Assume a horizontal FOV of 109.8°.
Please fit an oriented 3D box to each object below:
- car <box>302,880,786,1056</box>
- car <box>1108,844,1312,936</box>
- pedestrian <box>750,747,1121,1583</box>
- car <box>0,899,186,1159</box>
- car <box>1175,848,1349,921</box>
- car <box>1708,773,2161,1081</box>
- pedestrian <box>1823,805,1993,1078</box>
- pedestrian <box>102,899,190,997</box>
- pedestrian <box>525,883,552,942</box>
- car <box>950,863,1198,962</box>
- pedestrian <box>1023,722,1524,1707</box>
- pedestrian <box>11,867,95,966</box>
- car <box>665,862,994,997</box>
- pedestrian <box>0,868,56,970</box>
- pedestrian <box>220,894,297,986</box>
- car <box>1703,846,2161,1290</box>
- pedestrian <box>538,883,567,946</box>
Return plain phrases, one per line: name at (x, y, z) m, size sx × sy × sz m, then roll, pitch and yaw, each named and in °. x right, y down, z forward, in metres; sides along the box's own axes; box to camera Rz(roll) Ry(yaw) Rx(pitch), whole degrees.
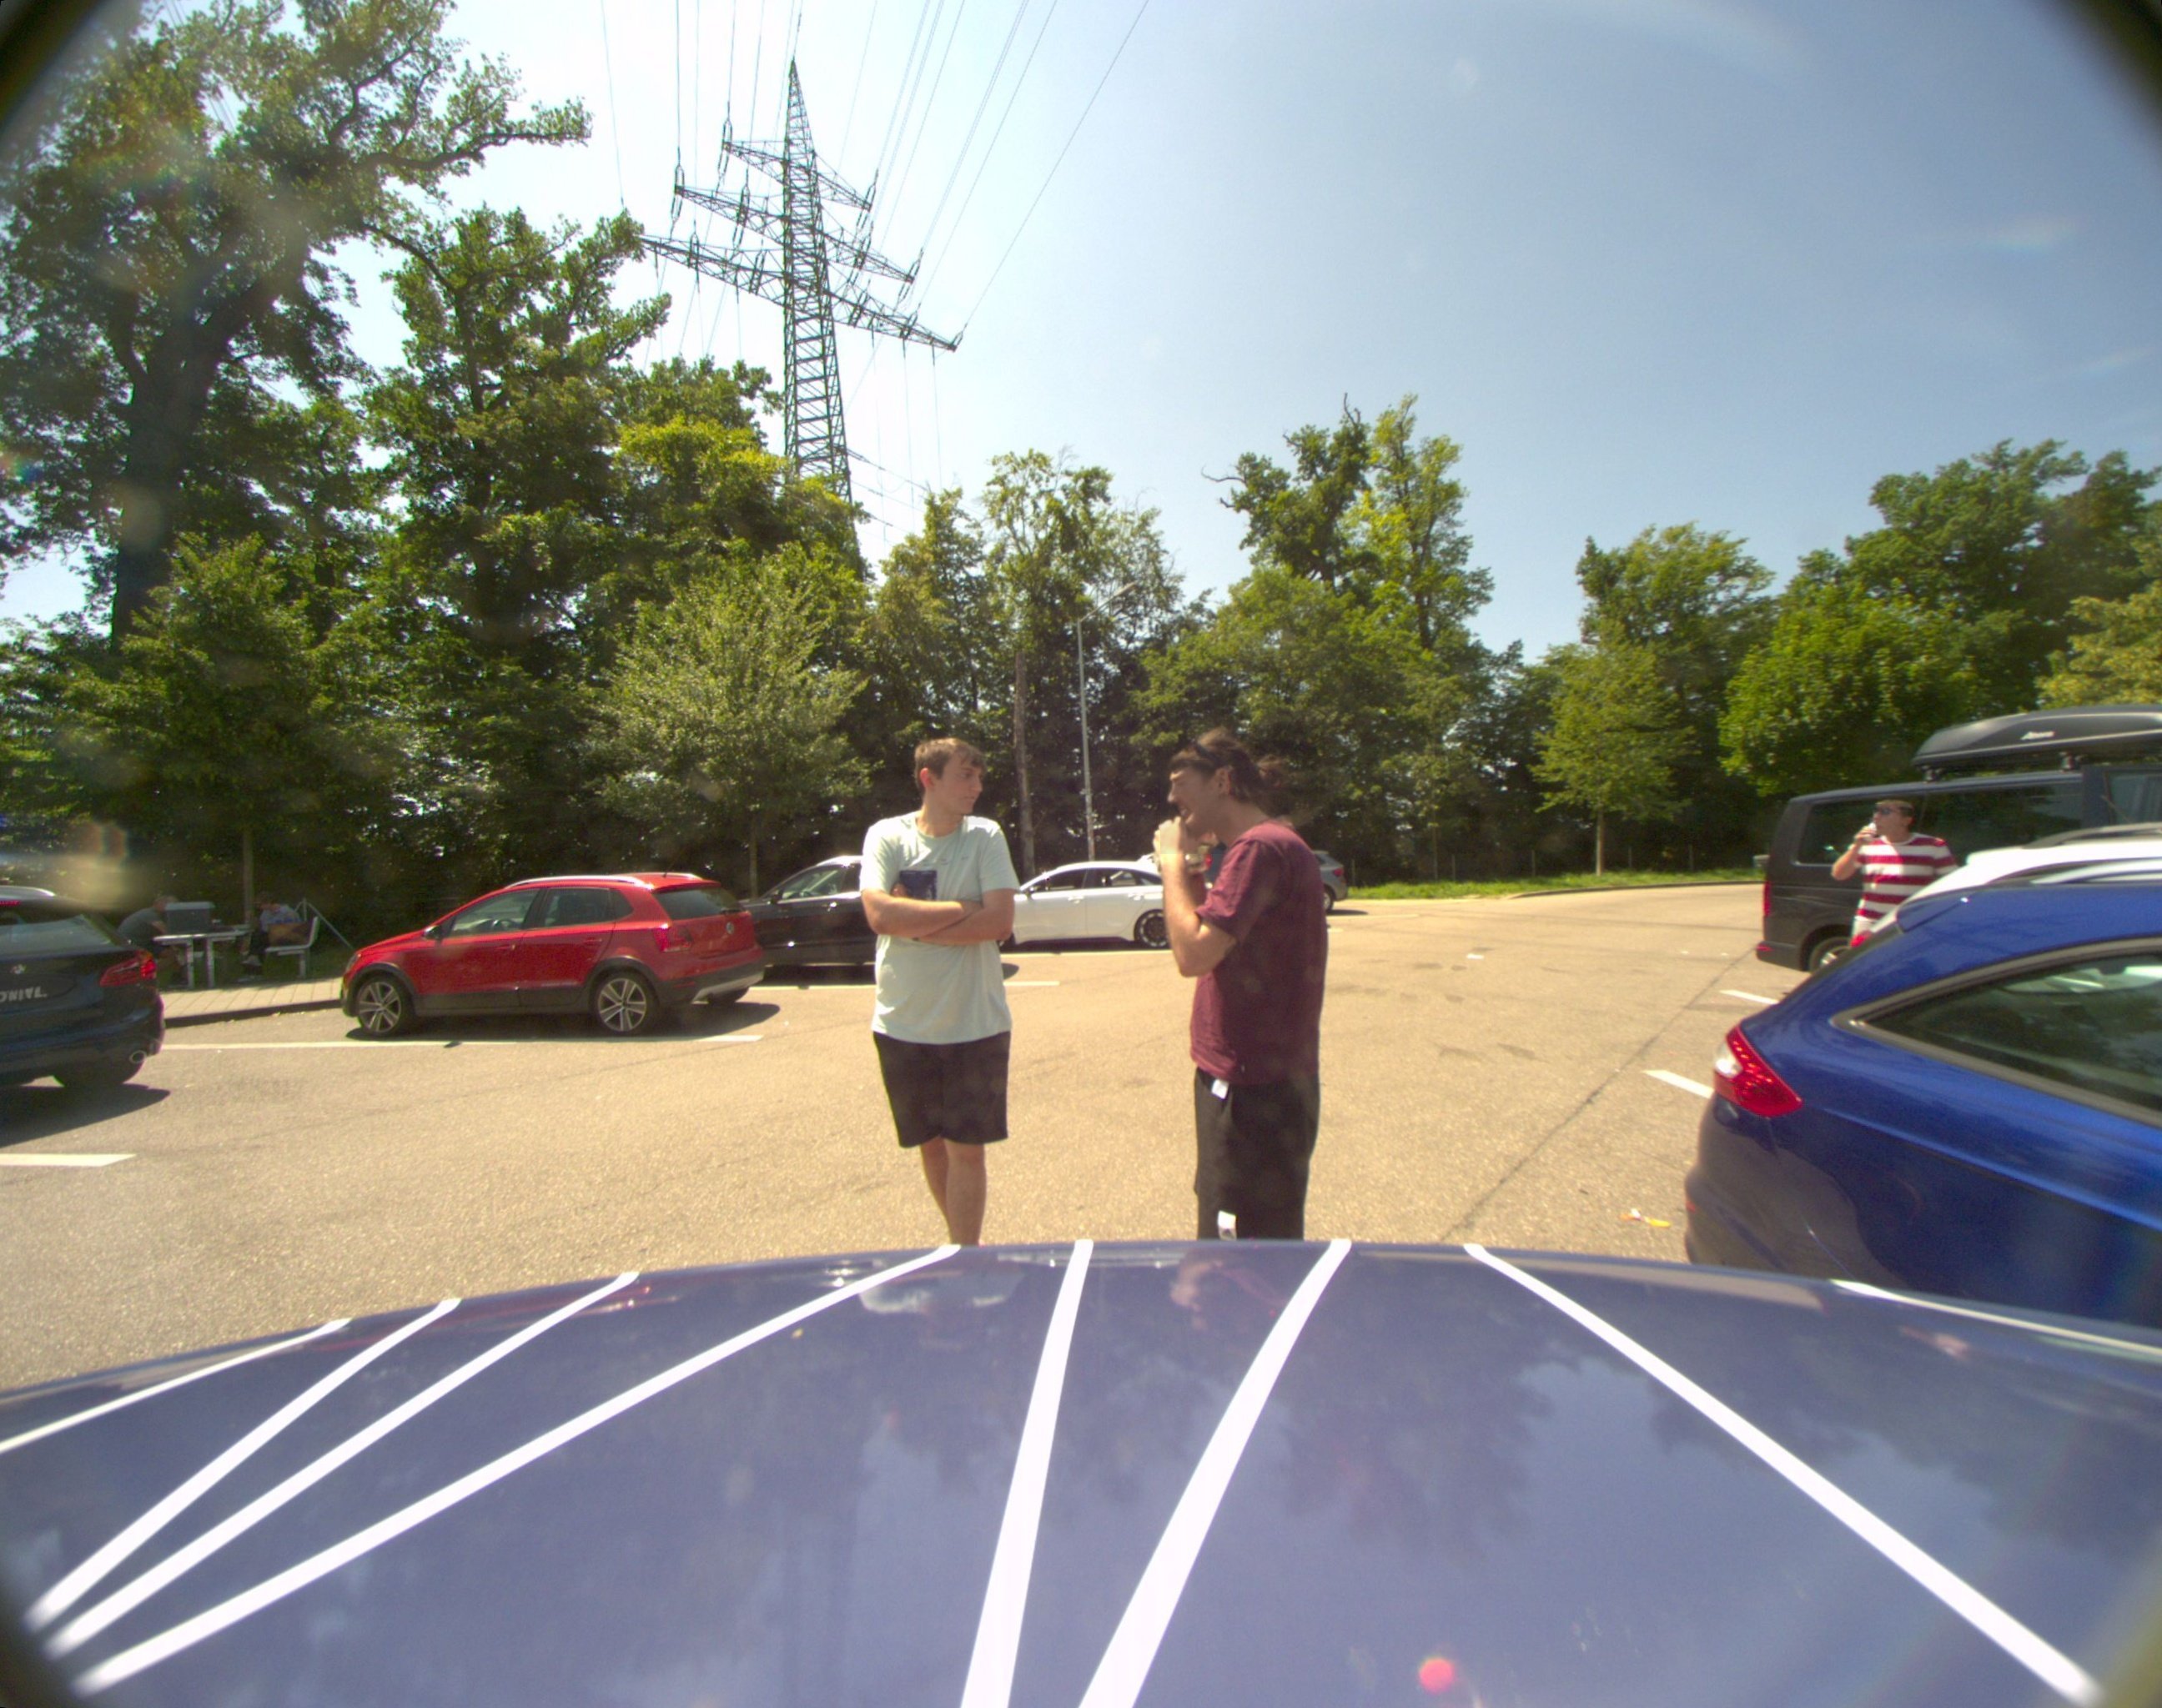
car at (-5.232, 1.086, 7.657) m, size 3.823 × 1.460 × 1.651 m, roll -2°, pitch 1°, yaw 8°
car at (2.606, 0.710, 15.444) m, size 3.822 × 1.686 × 1.652 m, roll -2°, pitch 1°, yaw 12°
pedestrian at (-0.495, 0.714, 2.341) m, size 0.815 × 1.939 × 0.919 m, roll -3°, pitch 1°, yaw -28°
car at (-8.833, 1.162, 4.965) m, size 4.338 × 1.544 × 1.749 m, roll -1°, pitch 1°, yaw 8°
car at (4.265, 0.707, 18.139) m, size 3.822 × 1.551 × 1.652 m, roll -2°, pitch 1°, yaw 12°
car at (7.374, 0.416, 5.271) m, size 1.758 × 1.886 × 4.571 m, roll -3°, pitch -1°, yaw -9°
pedestrian at (5.810, 0.555, 5.389) m, size 0.753 × 1.744 × 0.786 m, roll -1°, pitch 2°, yaw 44°
pedestrian at (-12.729, 1.263, 10.360) m, size 0.595 × 1.238 × 0.446 m, roll -3°, pitch 1°, yaw -33°
pedestrian at (-11.009, 1.181, 15.426) m, size 0.357 × 1.158 × 0.384 m, roll -3°, pitch 2°, yaw -41°
car at (-0.075, 0.931, 12.661) m, size 3.825 × 1.394 × 1.651 m, roll -2°, pitch 1°, yaw 4°
pedestrian at (0.467, 0.714, 1.917) m, size 0.919 × 1.894 × 0.815 m, roll -2°, pitch 1°, yaw 16°
pedestrian at (-17.472, 1.041, 12.931) m, size 0.573 × 1.596 × 0.646 m, roll -3°, pitch 1°, yaw -30°
car at (-3.250, 0.959, 10.286) m, size 3.825 × 1.546 × 1.651 m, roll -2°, pitch 1°, yaw 4°
pedestrian at (-17.187, 1.038, 12.212) m, size 0.573 × 1.596 × 0.646 m, roll -3°, pitch 1°, yaw -30°
pedestrian at (-11.862, 1.223, 10.974) m, size 0.595 × 1.238 × 0.499 m, roll -3°, pitch 1°, yaw -33°
car at (4.645, 0.729, 2.239) m, size 1.757 × 1.496 × 4.574 m, roll -3°, pitch -1°, yaw -1°
pedestrian at (-10.165, 1.158, 14.611) m, size 0.357 × 1.158 × 0.384 m, roll -3°, pitch 2°, yaw -41°
